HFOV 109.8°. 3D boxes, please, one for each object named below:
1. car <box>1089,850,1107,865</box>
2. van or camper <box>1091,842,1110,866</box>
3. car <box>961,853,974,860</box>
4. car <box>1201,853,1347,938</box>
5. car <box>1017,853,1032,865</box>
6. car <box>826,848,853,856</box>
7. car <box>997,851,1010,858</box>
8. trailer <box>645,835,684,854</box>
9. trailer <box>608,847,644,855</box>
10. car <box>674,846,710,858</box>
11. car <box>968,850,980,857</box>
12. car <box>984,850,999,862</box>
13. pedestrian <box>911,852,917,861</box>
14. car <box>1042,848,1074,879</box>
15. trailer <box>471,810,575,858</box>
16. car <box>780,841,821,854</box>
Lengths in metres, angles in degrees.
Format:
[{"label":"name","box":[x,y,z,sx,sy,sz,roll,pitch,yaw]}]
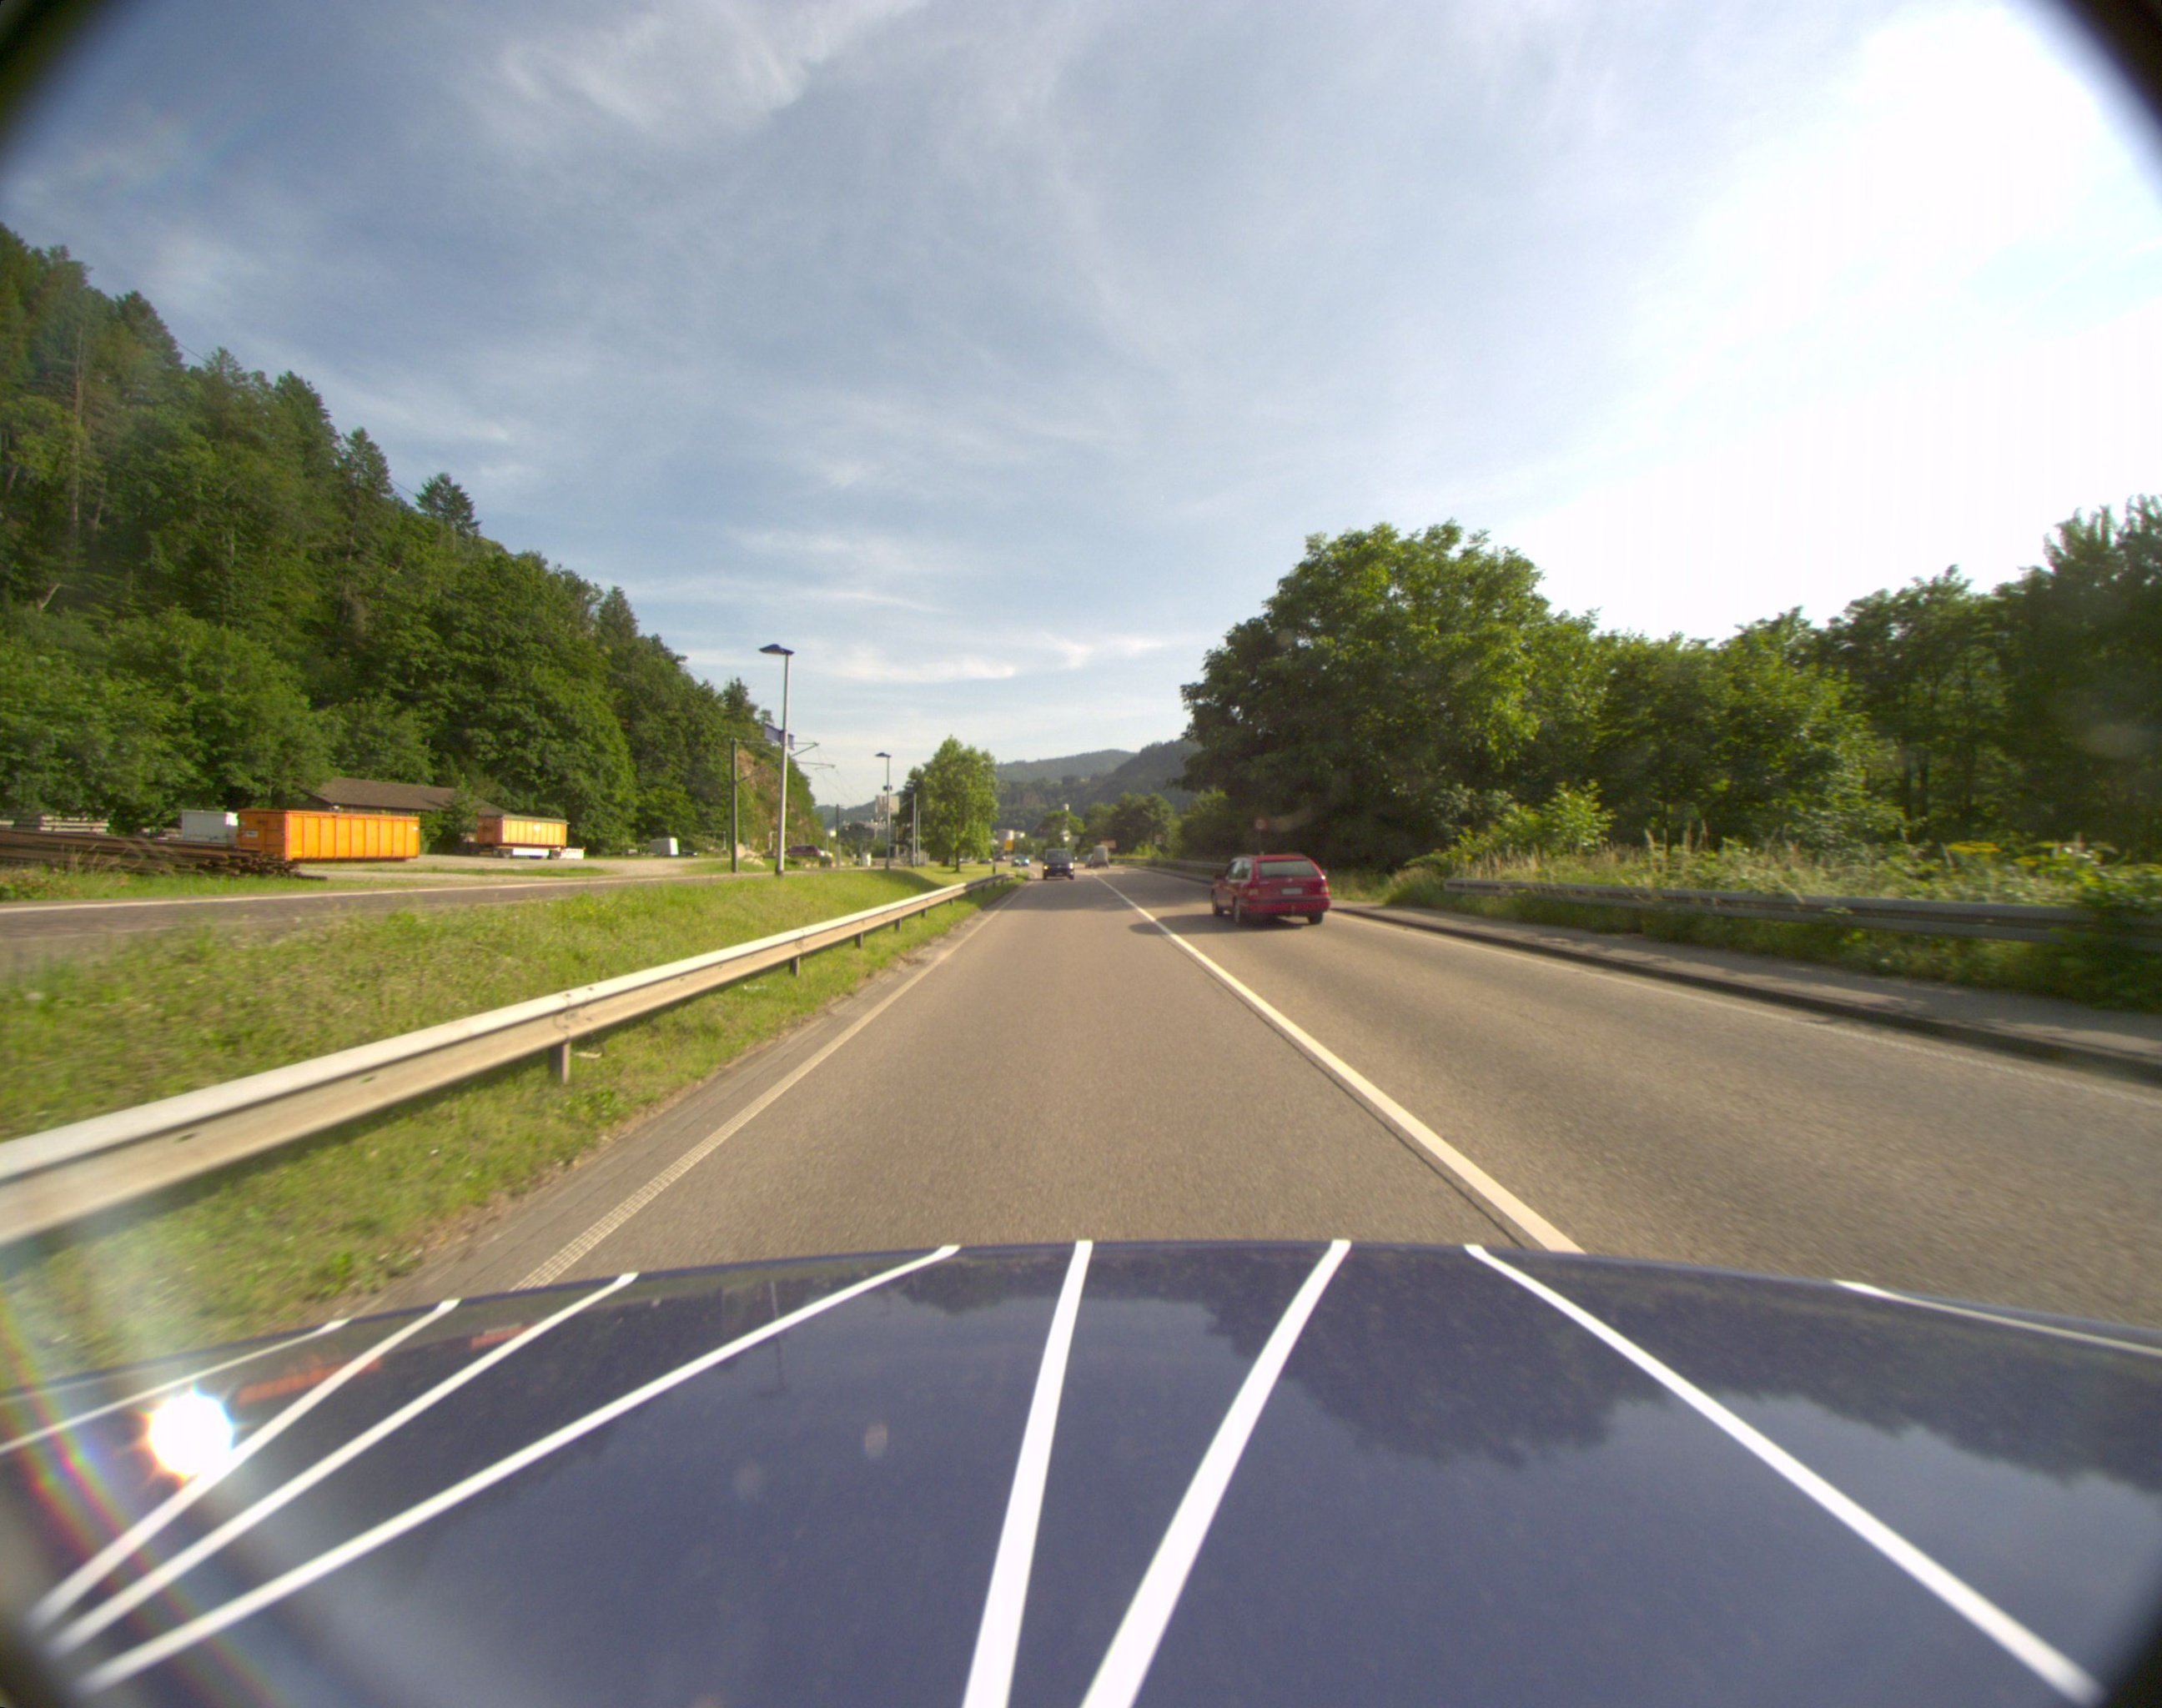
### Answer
[{"label":"car","box":[1.746,0.358,80.937,1.653,1.428,4.604,-2,0,-1]},{"label":"van or camper","box":[1.913,-0.038,76.587,1.607,2.315,4.058,-3,0,-1]},{"label":"car","box":[-22.148,0.487,148.261,1.879,1.452,3.723,1,0,-17]},{"label":"car","box":[3.920,0.764,16.387,1.846,1.461,4.943,-3,0,0]},{"label":"car","box":[-7.173,0.680,96.538,1.769,1.452,3.574,1,0,-7]},{"label":"car","box":[-40.151,-0.330,126.559,4.111,1.390,1.807,-1,0,-12]},{"label":"car","box":[-15.601,0.123,152.753,1.701,1.394,4.194,1,0,-18]},{"label":"trailer","box":[-49.879,-1.158,90.999,3.699,2.177,1.819,0,1,7]},{"label":"trailer","box":[-51.411,-0.333,85.900,3.068,0.909,1.738,0,0,7]},{"label":"car","box":[-47.474,-0.257,92.706,3.609,1.478,1.671,1,0,5]},{"label":"car","box":[-25.427,-0.149,180.811,1.859,1.461,4.533,1,0,-22]},{"label":"car","box":[-15.037,0.340,127.739,2.001,1.783,3.995,4,0,-14]},{"label":"pedestrian","box":[-20.772,0.336,94.395,0.637,1.154,0.726,1,1,-4]},{"label":"car","box":[-1.430,0.560,47.928,1.909,1.868,4.347,0,0,-2]},{"label":"trailer","box":[-48.231,-1.643,66.015,2.611,3.871,7.736,1,0,7]},{"label":"car","box":[-37.412,-0.832,101.437,4.969,1.681,1.934,-1,0,-12]}]
